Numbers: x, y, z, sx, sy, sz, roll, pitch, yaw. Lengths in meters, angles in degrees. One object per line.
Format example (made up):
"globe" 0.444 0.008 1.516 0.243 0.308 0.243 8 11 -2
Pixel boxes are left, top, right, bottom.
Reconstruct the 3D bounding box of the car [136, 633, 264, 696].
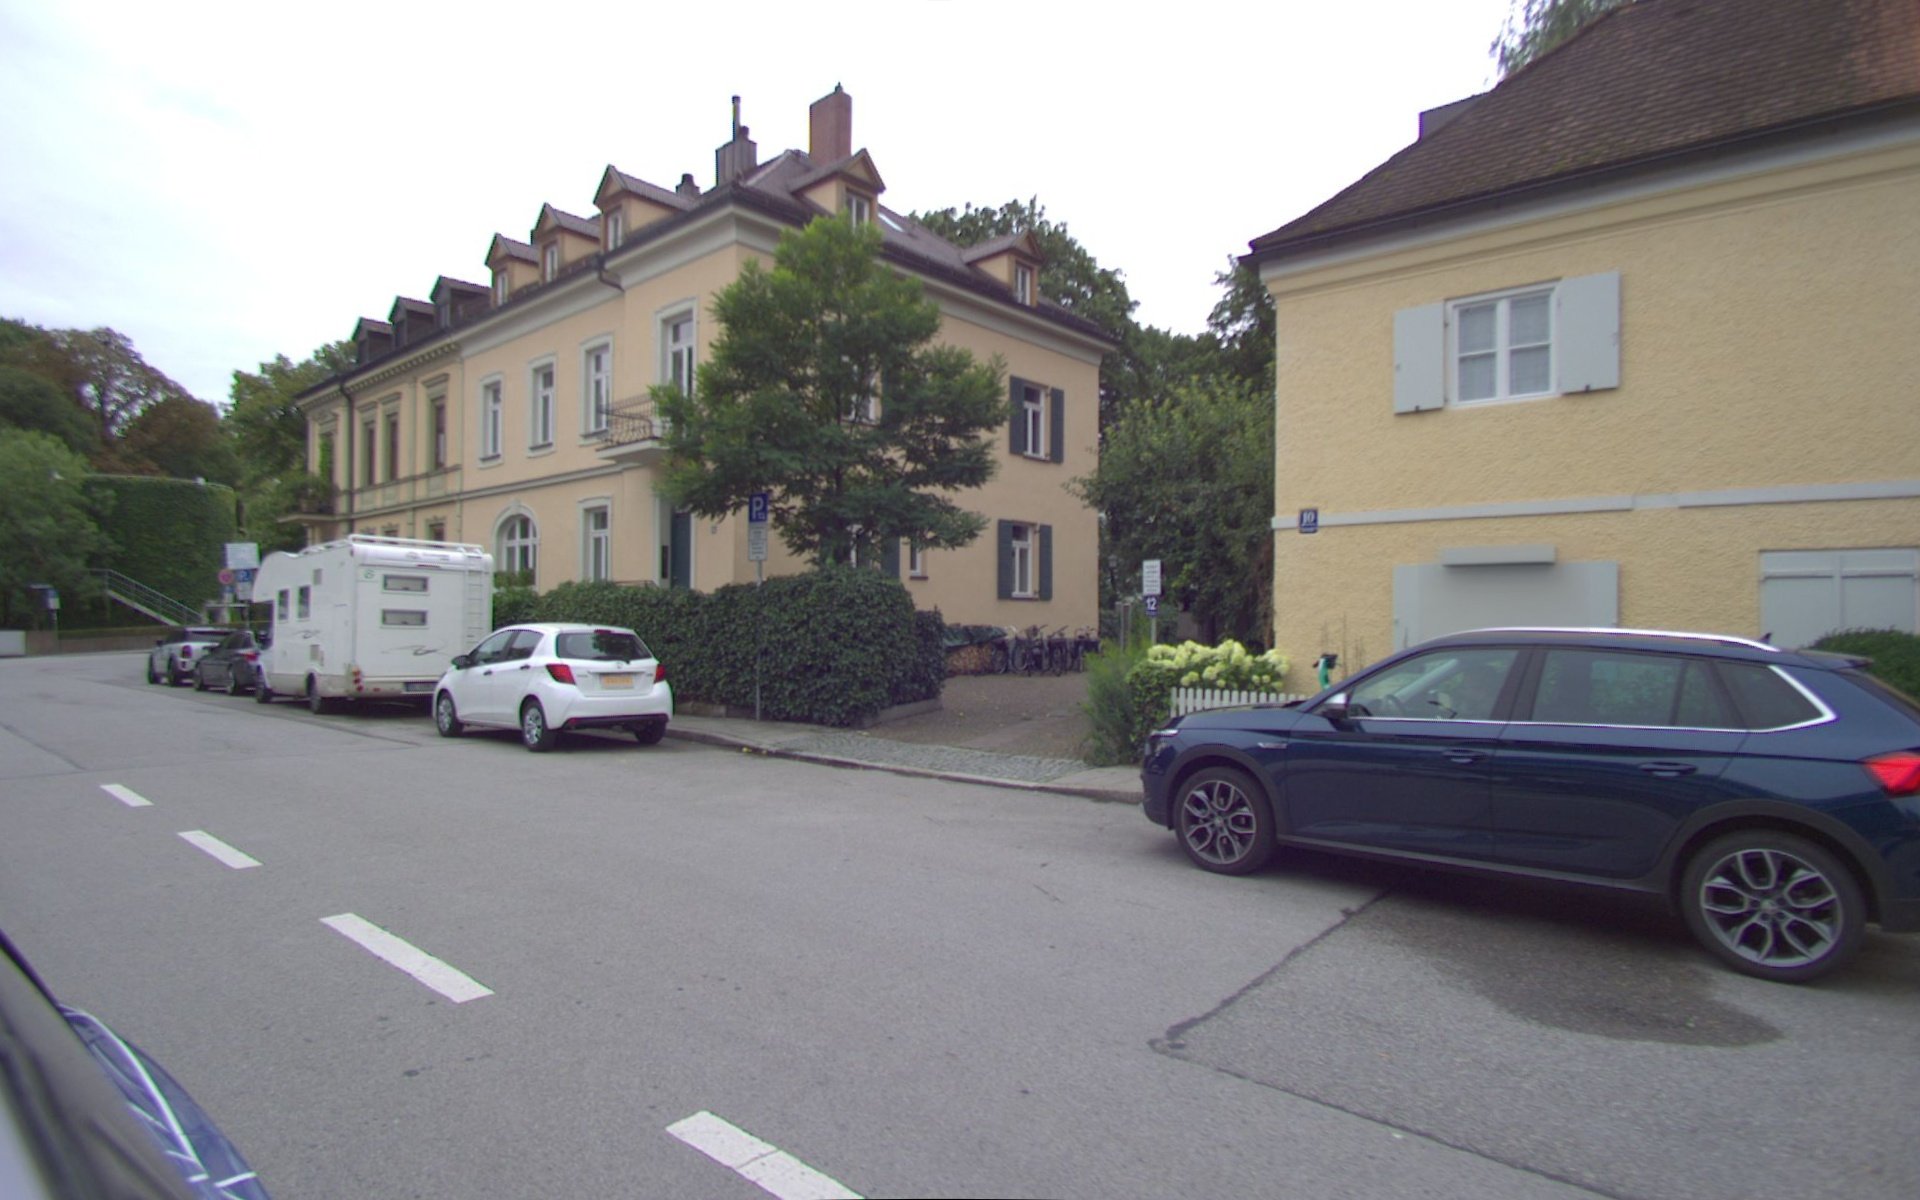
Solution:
"car" -20.654 1.721 27.440 4.530 1.547 1.915 -2 -5 43

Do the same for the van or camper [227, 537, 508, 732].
"van or camper" -11.175 0.664 18.747 7.211 2.963 2.428 -2 -4 43

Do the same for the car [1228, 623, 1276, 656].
"car" 13.484 1.773 46.621 1.747 1.409 3.970 -1 -1 22

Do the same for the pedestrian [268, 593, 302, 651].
"pedestrian" -19.044 0.609 28.547 0.739 1.616 0.646 -2 -1 42

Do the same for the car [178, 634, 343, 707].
"car" -16.306 1.584 23.496 4.819 1.520 1.916 -2 -5 41

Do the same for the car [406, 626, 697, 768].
"car" -5.411 1.167 13.167 4.226 1.547 1.759 -2 -5 41

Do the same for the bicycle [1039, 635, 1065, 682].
"bicycle" 2.255 1.425 24.888 0.363 1.093 1.745 0 -2 -4

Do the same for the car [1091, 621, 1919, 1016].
"car" 3.129 0.942 5.844 4.440 1.547 1.825 -1 -4 42

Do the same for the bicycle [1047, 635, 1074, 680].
"bicycle" 2.536 1.435 25.644 0.363 1.093 1.745 0 -2 -4

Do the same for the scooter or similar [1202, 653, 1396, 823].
"scooter or similar" 2.654 1.037 8.010 1.371 1.197 0.447 -2 -1 42

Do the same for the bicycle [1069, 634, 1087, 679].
"bicycle" 3.040 1.441 26.140 0.364 1.093 1.741 0 -2 3

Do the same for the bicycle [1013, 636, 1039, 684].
"bicycle" 1.570 1.417 24.214 0.363 1.093 1.745 0 -2 -4
